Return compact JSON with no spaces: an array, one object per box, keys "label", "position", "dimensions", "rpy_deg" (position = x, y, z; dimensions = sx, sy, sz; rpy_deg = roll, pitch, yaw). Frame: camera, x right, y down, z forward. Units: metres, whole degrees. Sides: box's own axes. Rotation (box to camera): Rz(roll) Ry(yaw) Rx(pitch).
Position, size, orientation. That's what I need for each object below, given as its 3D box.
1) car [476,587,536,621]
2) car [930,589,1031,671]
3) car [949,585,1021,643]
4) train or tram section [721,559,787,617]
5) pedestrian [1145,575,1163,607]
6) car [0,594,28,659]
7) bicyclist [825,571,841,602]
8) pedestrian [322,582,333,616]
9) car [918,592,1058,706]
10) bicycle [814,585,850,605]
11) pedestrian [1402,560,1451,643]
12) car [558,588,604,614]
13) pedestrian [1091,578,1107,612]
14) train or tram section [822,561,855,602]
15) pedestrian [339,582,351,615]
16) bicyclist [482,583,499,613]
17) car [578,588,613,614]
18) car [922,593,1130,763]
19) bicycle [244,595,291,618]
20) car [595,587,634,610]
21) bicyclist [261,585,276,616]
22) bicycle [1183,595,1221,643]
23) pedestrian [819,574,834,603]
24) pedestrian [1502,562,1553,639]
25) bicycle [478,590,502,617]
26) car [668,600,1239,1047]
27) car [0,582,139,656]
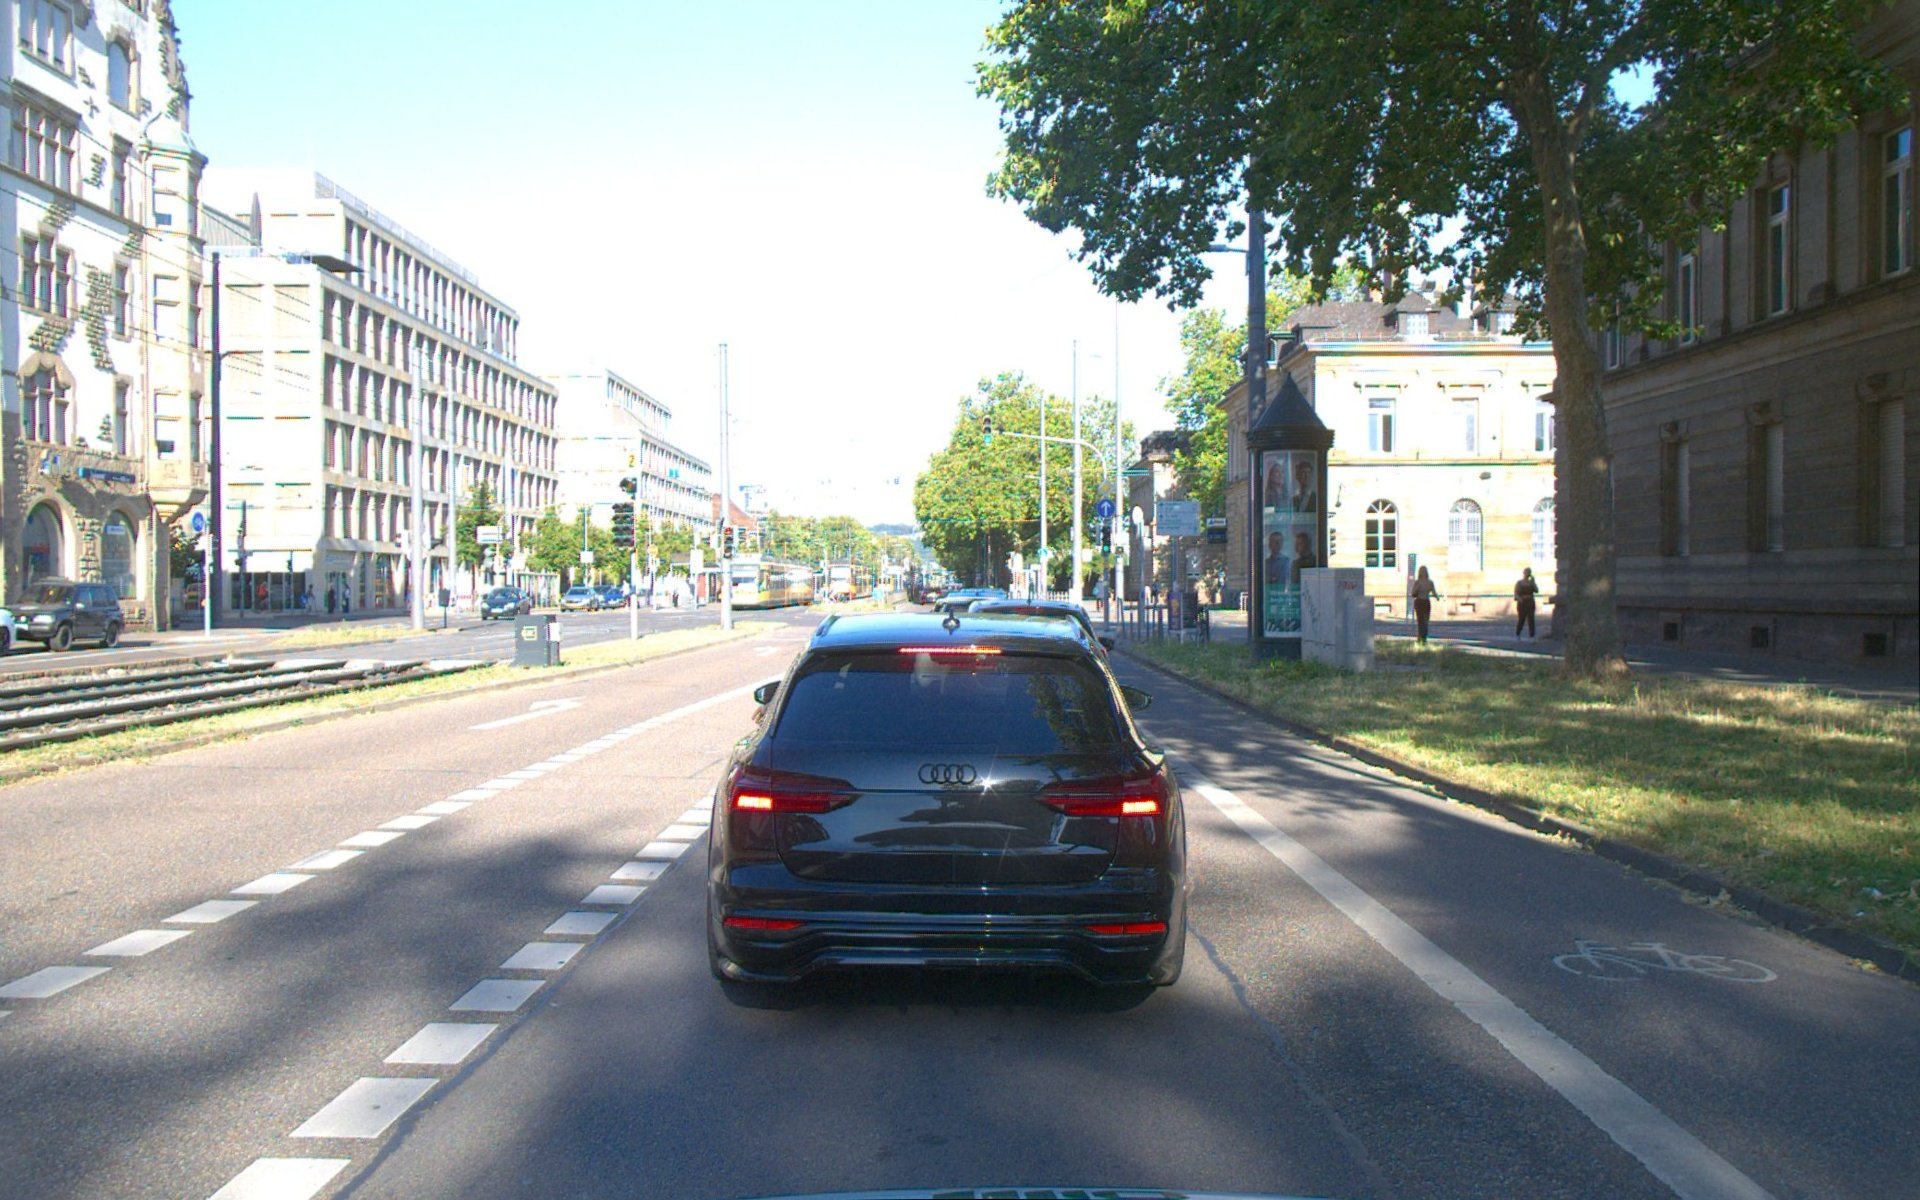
[{"label":"car","position":[-20.979,0.163,76.563],"dimensions":[1.784,1.482,4.163],"rpy_deg":[-1,0,-3]},{"label":"car","position":[0.381,0.562,32.983],"dimensions":[1.864,1.512,4.144],"rpy_deg":[1,0,0]},{"label":"car","position":[0.665,0.376,45.744],"dimensions":[1.864,1.512,4.144],"rpy_deg":[1,0,0]},{"label":"train or tram section","position":[-13.438,-0.798,109.124],"dimensions":[2.755,3.550,13.203],"rpy_deg":[-1,1,0]},{"label":"pedestrian","position":[11.490,-0.532,97.880],"dimensions":[0.959,1.898,0.826],"rpy_deg":[-1,0,-1]},{"label":"car","position":[-22.384,0.604,35.975],"dimensions":[1.682,1.448,4.654],"rpy_deg":[2,1,-2]},{"label":"bicyclist","position":[-7.486,-0.807,97.647],"dimensions":[0.745,1.850,0.761],"rpy_deg":[-1,0,-18]},{"label":"pedestrian","position":[-35.322,-0.077,92.346],"dimensions":[0.468,1.876,0.437],"rpy_deg":[-1,0,-38]},{"label":"car","position":[0.385,0.658,24.309],"dimensions":[1.864,1.512,4.144],"rpy_deg":[1,0,0]},{"label":"bicycle","position":[-7.559,-0.294,97.625],"dimensions":[1.975,1.127,0.760],"rpy_deg":[-1,1,-19]},{"label":"pedestrian","position":[10.098,0.028,35.818],"dimensions":[0.753,1.739,1.042],"rpy_deg":[-1,0,1]},{"label":"car","position":[-22.709,0.017,99.182],"dimensions":[1.783,1.482,4.539],"rpy_deg":[-1,0,-2]},{"label":"pedestrian","position":[6.986,-0.249,83.215],"dimensions":[0.668,1.689,0.758],"rpy_deg":[-1,0,-2]},{"label":"train or tram section","position":[-10.972,-1.681,150.515],"dimensions":[2.556,3.511,11.128],"rpy_deg":[-1,1,-2]},{"label":"pedestrian","position":[-34.473,-0.089,92.688],"dimensions":[0.527,1.876,0.437],"rpy_deg":[-1,0,-39]},{"label":"bicyclist","position":[-25.362,-0.128,89.321],"dimensions":[0.671,1.590,0.785],"rpy_deg":[-1,0,1]},{"label":"car","position":[-27.344,0.046,124.133],"dimensions":[1.804,1.844,4.112],"rpy_deg":[-1,0,-1]},{"label":"car","position":[0.601,0.705,17.050],"dimensions":[1.864,1.512,4.144],"rpy_deg":[1,0,0]},{"label":"bicycle","position":[-38.980,0.365,93.126],"dimensions":[2.336,1.236,0.576],"rpy_deg":[-1,0,-7]},{"label":"car","position":[-23.072,-0.096,110.478],"dimensions":[1.783,1.482,4.156],"rpy_deg":[-1,0,-2]},{"label":"bicyclist","position":[-38.957,0.037,93.151],"dimensions":[0.629,1.715,0.576],"rpy_deg":[-1,0,-7]},{"label":"bicycle","position":[5.688,0.438,38.933],"dimensions":[0.529,1.080,1.770],"rpy_deg":[-1,0,-4]},{"label":"pedestrian","position":[-8.015,-0.696,99.326],"dimensions":[0.728,1.772,0.660],"rpy_deg":[-1,0,-17]},{"label":"pedestrian","position":[12.216,0.007,35.641],"dimensions":[0.753,1.634,0.986],"rpy_deg":[-1,0,1]},{"label":"bicycle","position":[-25.359,0.186,89.256],"dimensions":[0.671,1.406,1.947],"rpy_deg":[-1,0,1]},{"label":"car","position":[-0.016,0.739,7.525],"dimensions":[1.864,1.446,4.144],"rpy_deg":[1,0,0]},{"label":"car","position":[-22.415,0.426,41.435],"dimensions":[1.682,1.704,4.215],"rpy_deg":[2,1,-2]}]
